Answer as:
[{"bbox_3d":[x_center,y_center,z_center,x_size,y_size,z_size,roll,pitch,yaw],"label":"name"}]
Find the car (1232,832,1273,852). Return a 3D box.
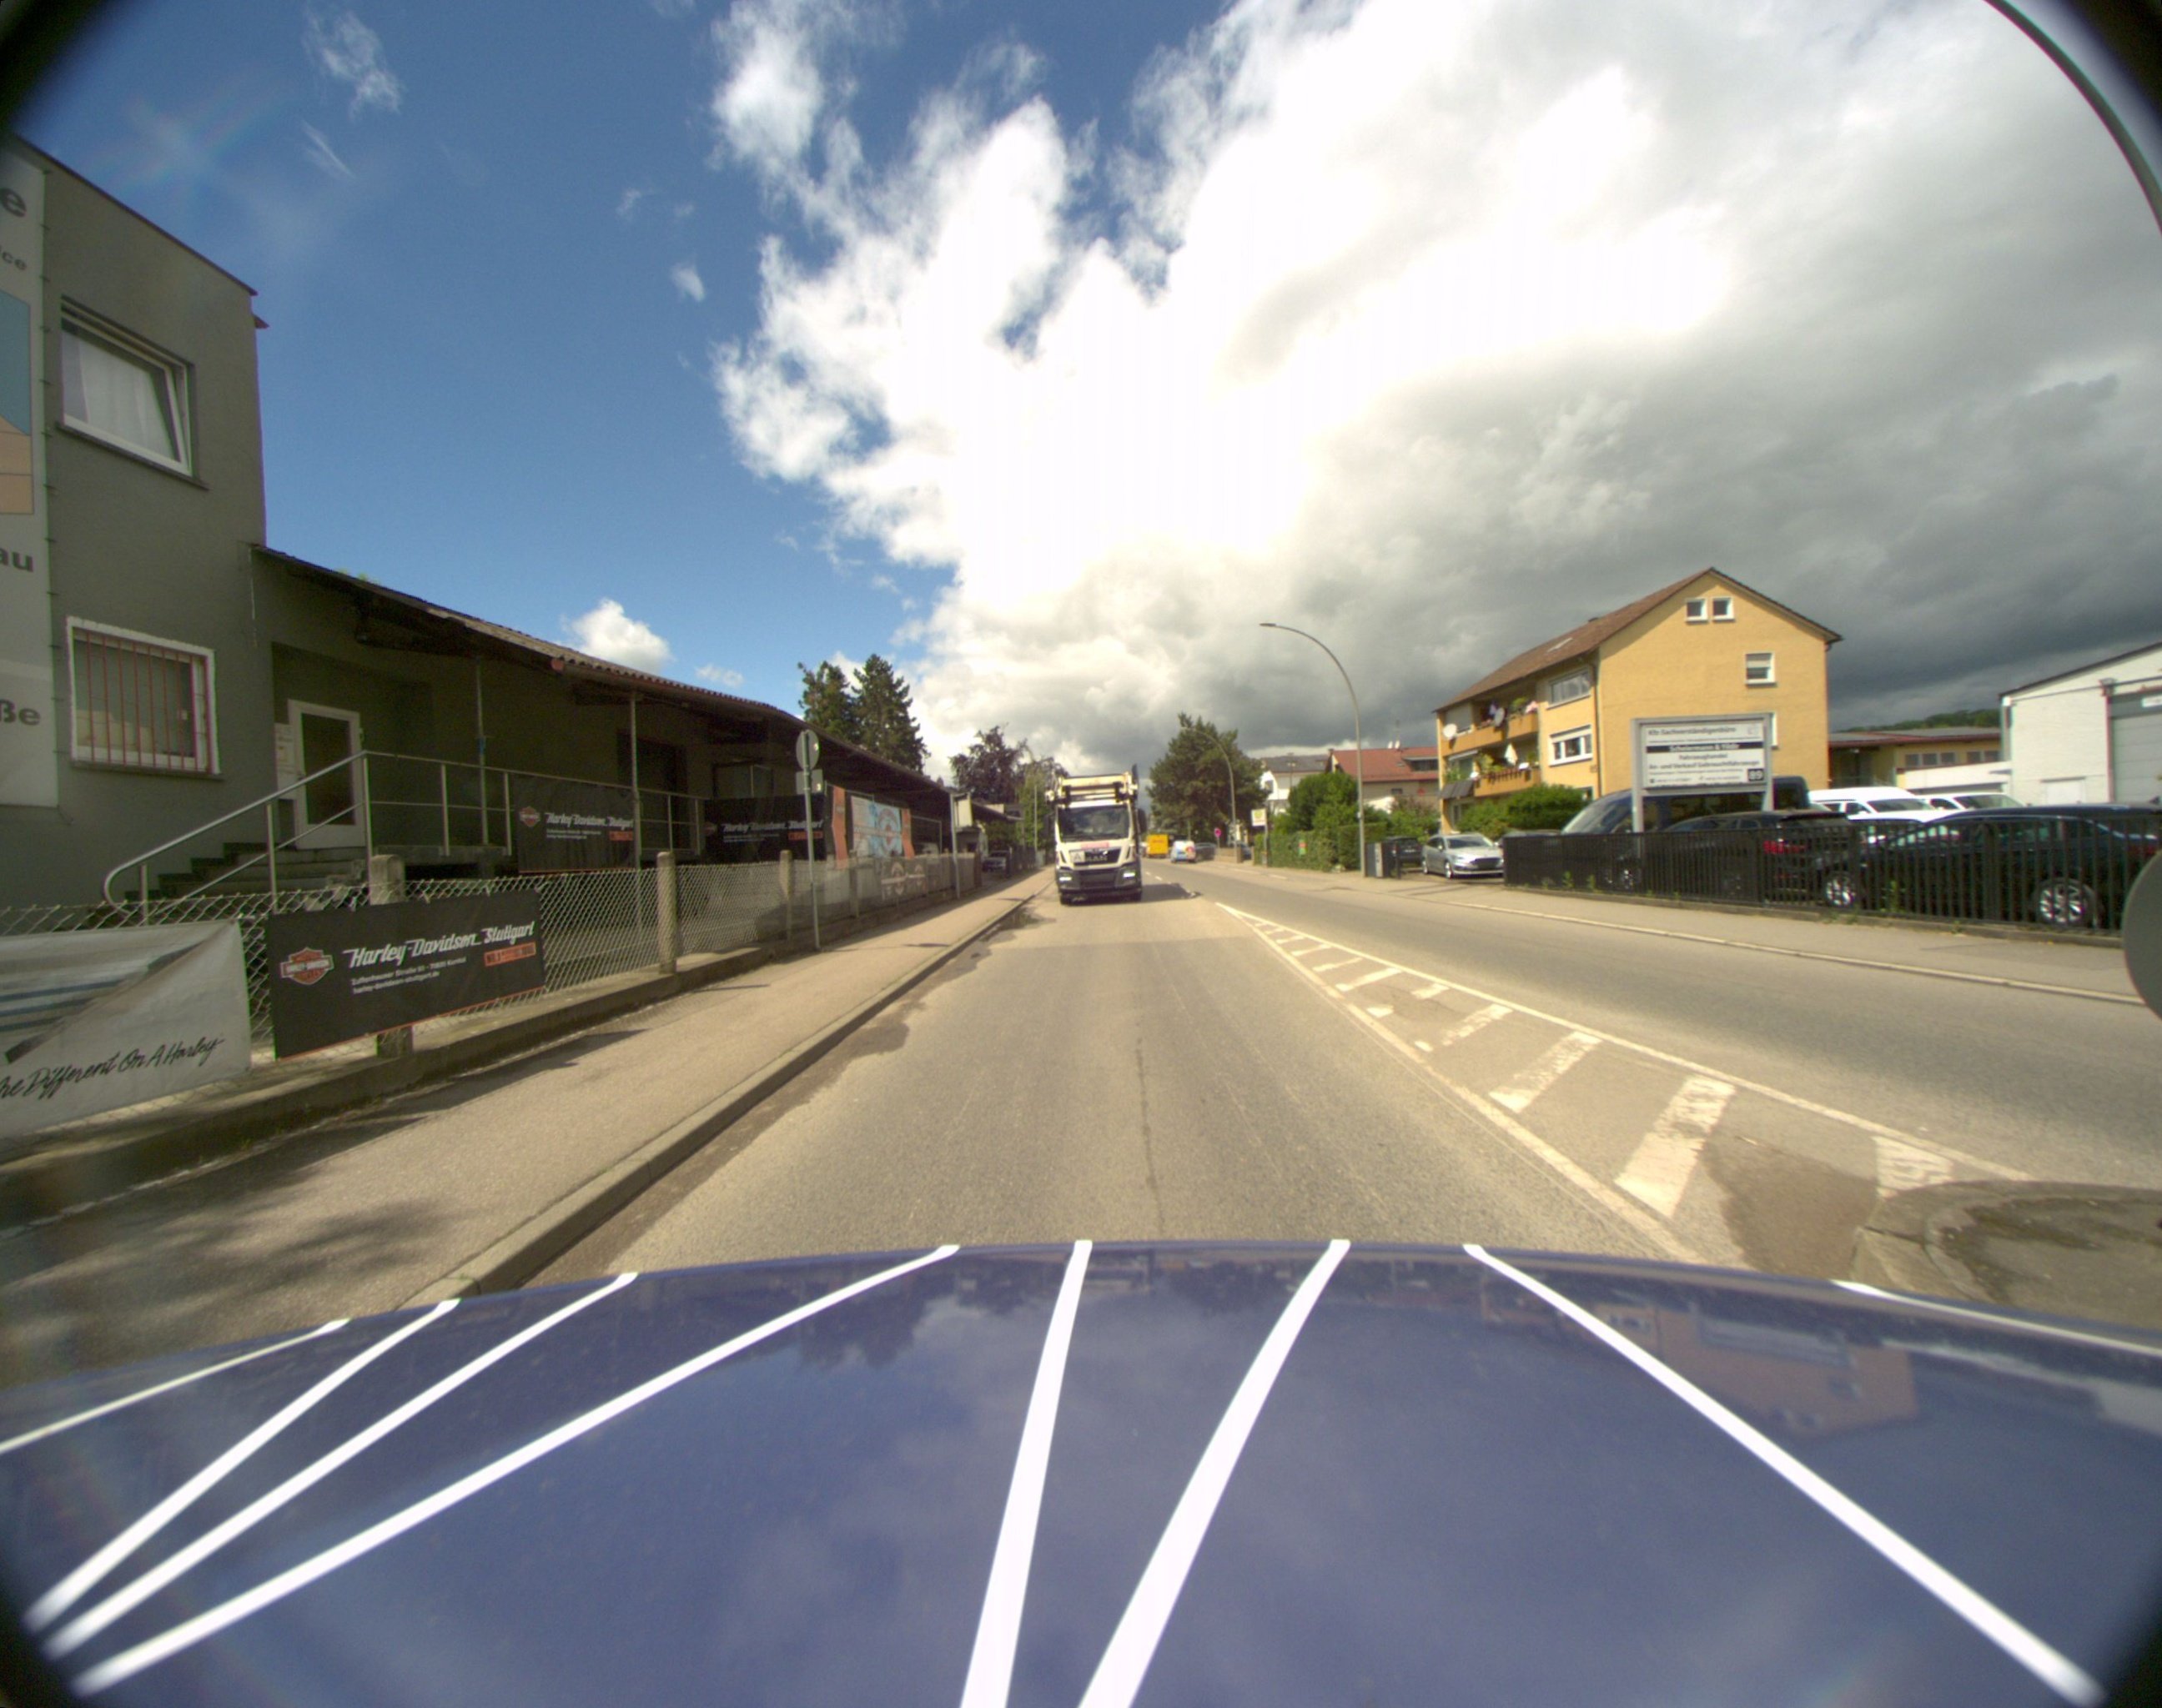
[{"bbox_3d":[17.941,-1.220,79.675,2.003,2.002,3.990,-3,2,-30],"label":"car"}]

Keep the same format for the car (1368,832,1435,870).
[{"bbox_3d":[15.377,-0.177,36.600,1.830,1.656,3.522,-3,1,3],"label":"car"}]

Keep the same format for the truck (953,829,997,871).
[{"bbox_3d":[-7.666,-0.351,55.408,2.091,2.812,5.202,-3,1,3],"label":"truck"}]

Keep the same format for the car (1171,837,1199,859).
[{"bbox_3d":[8.624,-0.527,63.305,1.729,1.671,3.999,-3,1,0],"label":"car"}]

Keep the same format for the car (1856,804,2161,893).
[{"bbox_3d":[17.580,-0.139,14.428,1.738,1.405,4.000,-3,1,3],"label":"car"}]

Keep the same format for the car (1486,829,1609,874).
[{"bbox_3d":[15.851,-0.131,26.076,1.884,1.334,4.000,-3,1,3],"label":"car"}]

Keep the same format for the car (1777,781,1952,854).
[{"bbox_3d":[26.759,-1.206,26.181,1.998,2.256,4.000,-3,1,3],"label":"car"}]

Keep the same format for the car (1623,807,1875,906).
[{"bbox_3d":[12.727,0.006,14.825,1.813,1.612,3.621,-3,1,3],"label":"car"}]

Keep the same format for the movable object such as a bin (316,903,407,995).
[{"bbox_3d":[-7.911,1.035,8.369,0.483,0.925,0.474,-3,2,1],"label":"movable object such as a bin"}]

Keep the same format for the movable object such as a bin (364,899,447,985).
[{"bbox_3d":[-7.898,1.023,8.897,0.483,0.925,0.474,-3,2,1],"label":"movable object such as a bin"}]

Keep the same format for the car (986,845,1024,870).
[{"bbox_3d":[-5.287,0.226,53.466,1.862,1.521,5.202,-3,1,3],"label":"car"}]

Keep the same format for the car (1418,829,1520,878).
[{"bbox_3d":[13.090,-0.078,25.916,1.887,1.451,4.352,-3,1,10],"label":"car"}]

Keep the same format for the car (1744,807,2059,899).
[{"bbox_3d":[15.320,-0.062,14.572,1.818,1.451,4.000,-3,1,3],"label":"car"}]

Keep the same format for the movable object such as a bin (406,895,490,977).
[{"bbox_3d":[-7.886,1.010,9.484,0.483,0.925,0.584,-3,2,1],"label":"movable object such as a bin"}]

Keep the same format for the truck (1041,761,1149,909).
[{"bbox_3d":[0.603,-0.606,24.888,2.664,3.790,9.815,-3,1,3],"label":"truck"}]

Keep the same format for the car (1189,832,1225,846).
[{"bbox_3d":[17.810,-2.145,107.834,4.734,1.669,2.218,-3,1,1],"label":"car"}]

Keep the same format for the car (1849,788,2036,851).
[{"bbox_3d":[29.451,-1.155,26.197,1.998,1.915,4.000,-3,1,3],"label":"car"}]

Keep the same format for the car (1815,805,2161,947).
[{"bbox_3d":[12.378,0.163,9.855,1.864,1.474,4.042,-3,1,2],"label":"car"}]

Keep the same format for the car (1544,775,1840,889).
[{"bbox_3d":[14.701,-0.517,18.582,5.363,2.371,2.104,-3,2,4],"label":"car"}]
